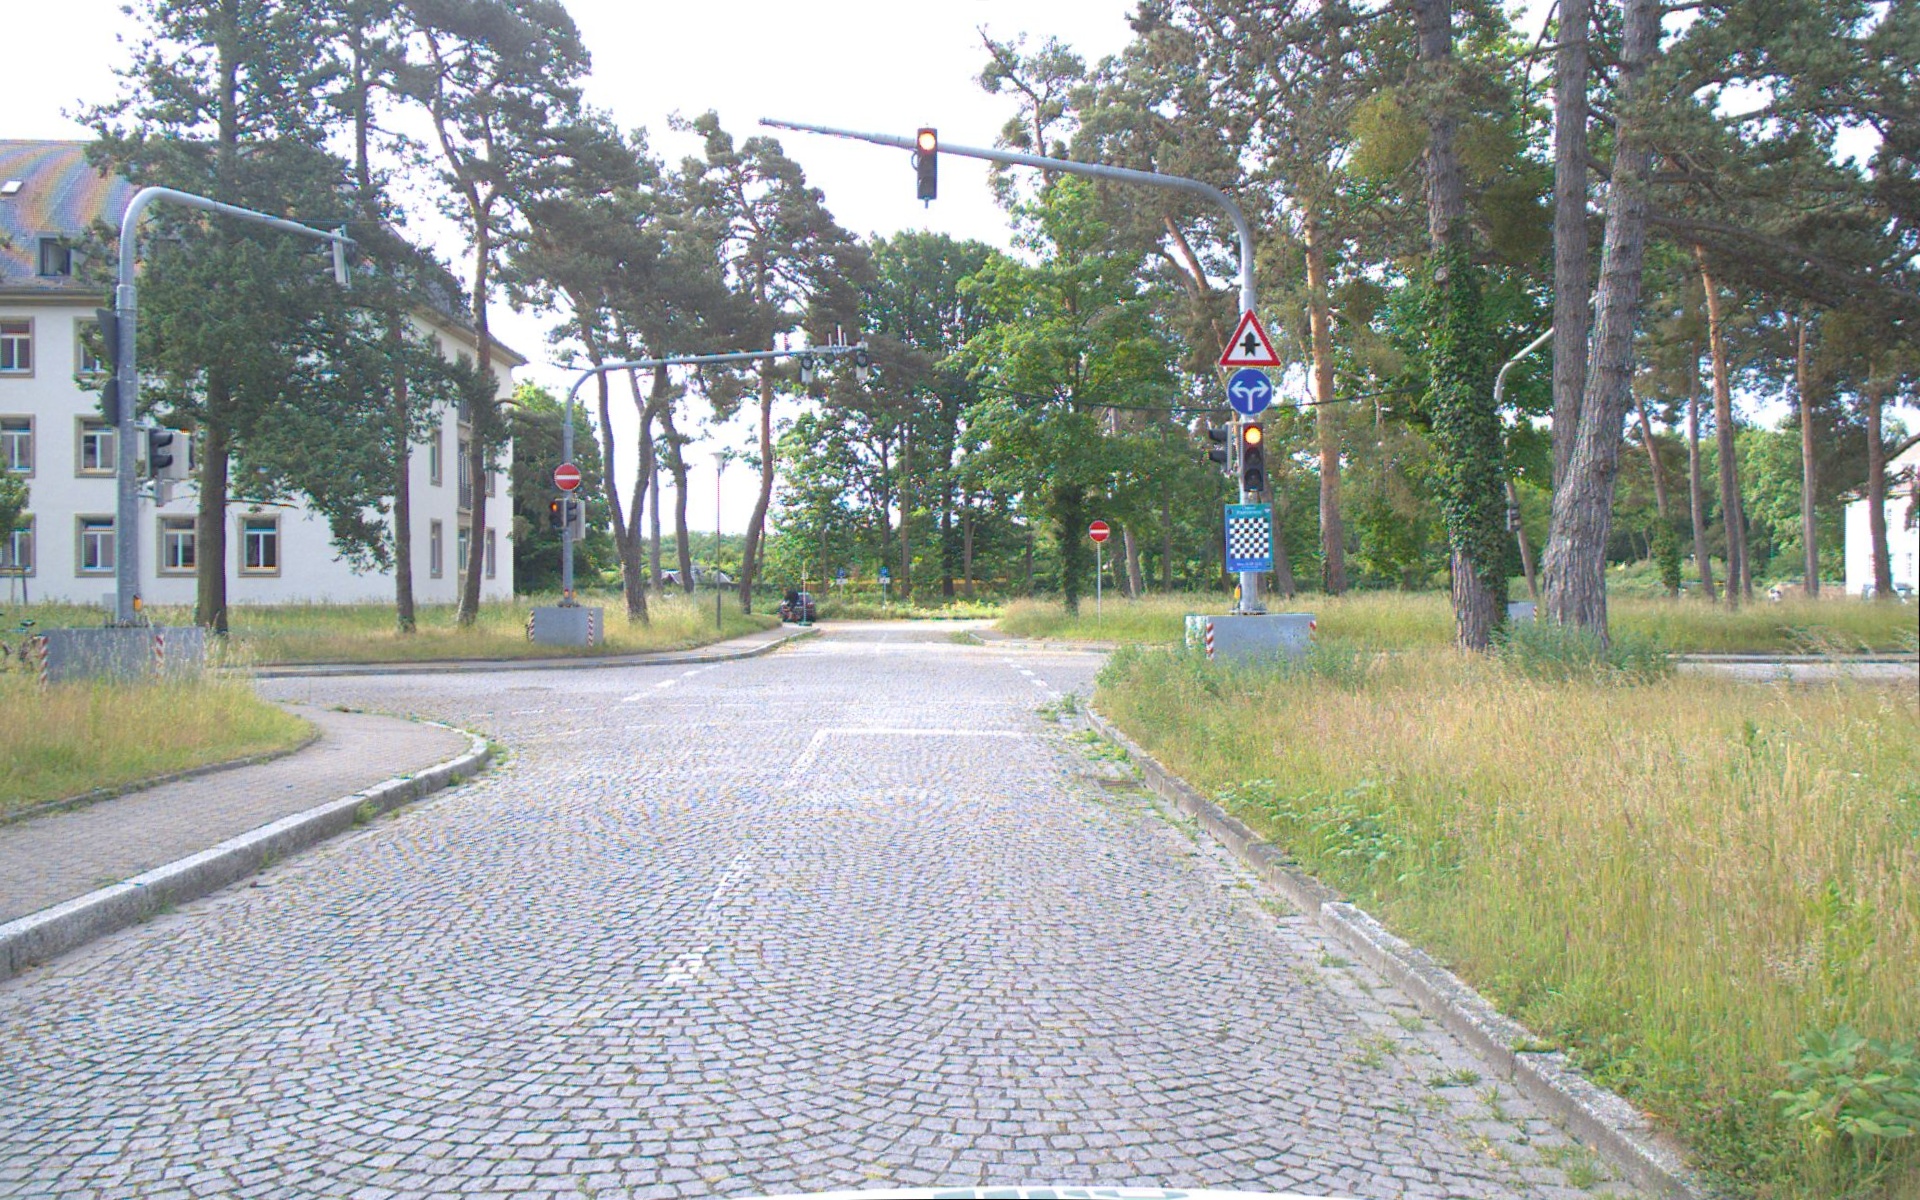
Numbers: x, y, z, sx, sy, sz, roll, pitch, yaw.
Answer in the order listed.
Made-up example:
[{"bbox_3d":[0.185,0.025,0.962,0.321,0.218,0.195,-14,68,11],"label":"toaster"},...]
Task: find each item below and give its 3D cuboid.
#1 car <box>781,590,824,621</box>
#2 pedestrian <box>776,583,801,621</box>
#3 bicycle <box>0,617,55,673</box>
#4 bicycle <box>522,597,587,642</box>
[{"bbox_3d":[-8.401,0.274,88.598,1.953,1.534,3.999,1,0,-1],"label":"car"},{"bbox_3d":[-8.683,0.099,83.884,1.186,1.923,0.747,0,0,0],"label":"pedestrian"},{"bbox_3d":[-17.759,0.842,30.914,1.429,1.013,0.452,0,0,-1],"label":"bicycle"},{"bbox_3d":[-9.472,0.453,38.668,1.432,1.013,0.451,-1,0,-9],"label":"bicycle"}]
